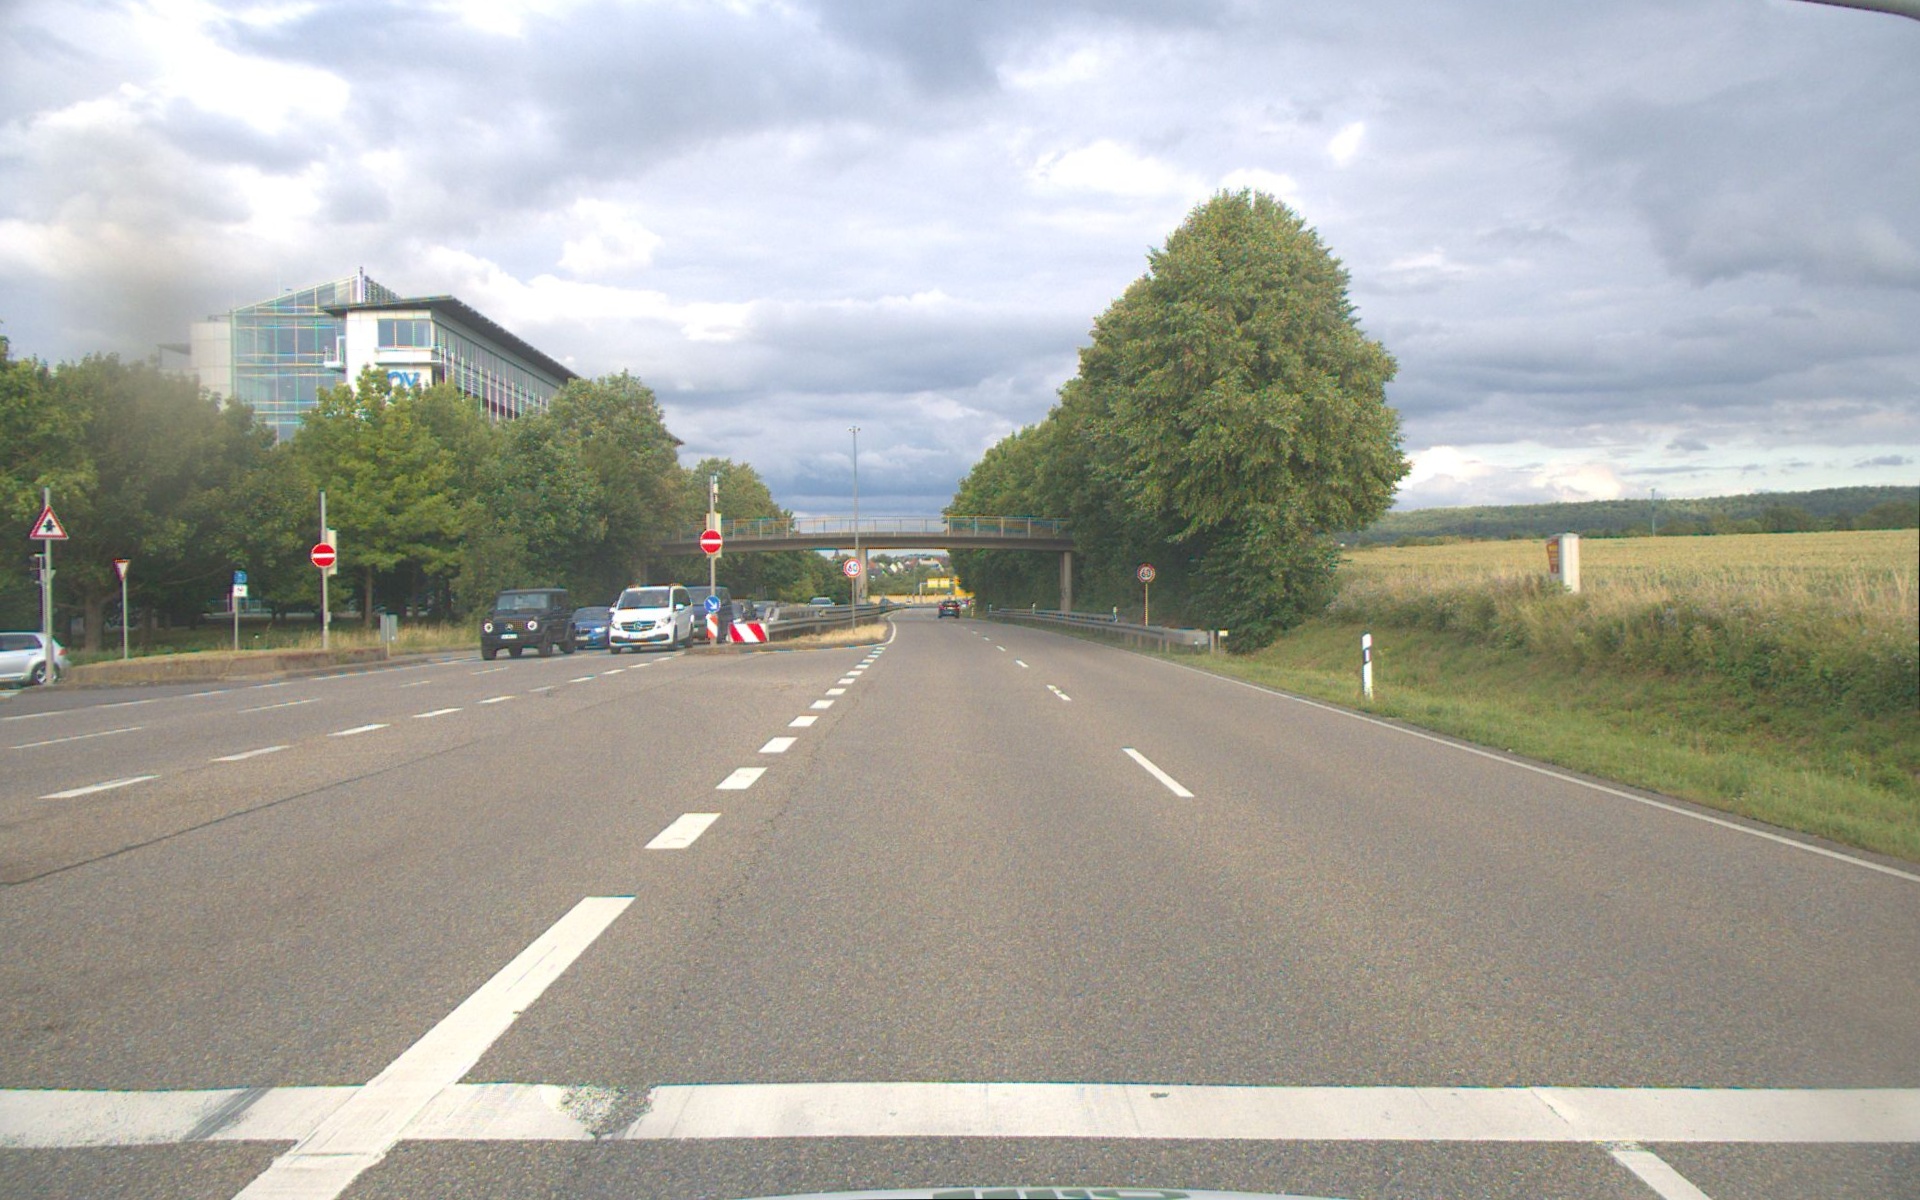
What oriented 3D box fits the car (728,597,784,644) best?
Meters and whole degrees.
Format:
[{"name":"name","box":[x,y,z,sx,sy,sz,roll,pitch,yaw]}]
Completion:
[{"name":"car","box":[-9.245,0.906,75.479,2.041,2.049,5.214,1,0,-2]}]

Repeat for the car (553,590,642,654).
[{"name":"car","box":[-12.325,0.738,56.542,2.041,2.049,5.214,1,0,-2]}]

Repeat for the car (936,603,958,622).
[{"name":"car","box":[-1.164,1.089,147.127,1.842,1.579,3.998,1,0,-2]}]

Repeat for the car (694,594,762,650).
[{"name":"car","box":[-8.998,0.851,64.504,2.041,2.049,5.214,1,0,-2]}]

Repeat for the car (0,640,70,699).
[{"name":"car","box":[-24.649,1.836,41.556,3.722,1.365,1.561,-5,1,-44]}]

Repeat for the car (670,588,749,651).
[{"name":"car","box":[-8.561,0.649,56.947,2.041,2.049,5.214,1,0,-2]}]

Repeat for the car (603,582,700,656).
[{"name":"car","box":[-9.102,0.552,49.203,2.041,2.049,5.214,1,0,-2]}]

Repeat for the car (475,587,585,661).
[{"name":"car","box":[-12.661,0.691,49.037,2.041,2.049,5.214,1,0,-2]}]
